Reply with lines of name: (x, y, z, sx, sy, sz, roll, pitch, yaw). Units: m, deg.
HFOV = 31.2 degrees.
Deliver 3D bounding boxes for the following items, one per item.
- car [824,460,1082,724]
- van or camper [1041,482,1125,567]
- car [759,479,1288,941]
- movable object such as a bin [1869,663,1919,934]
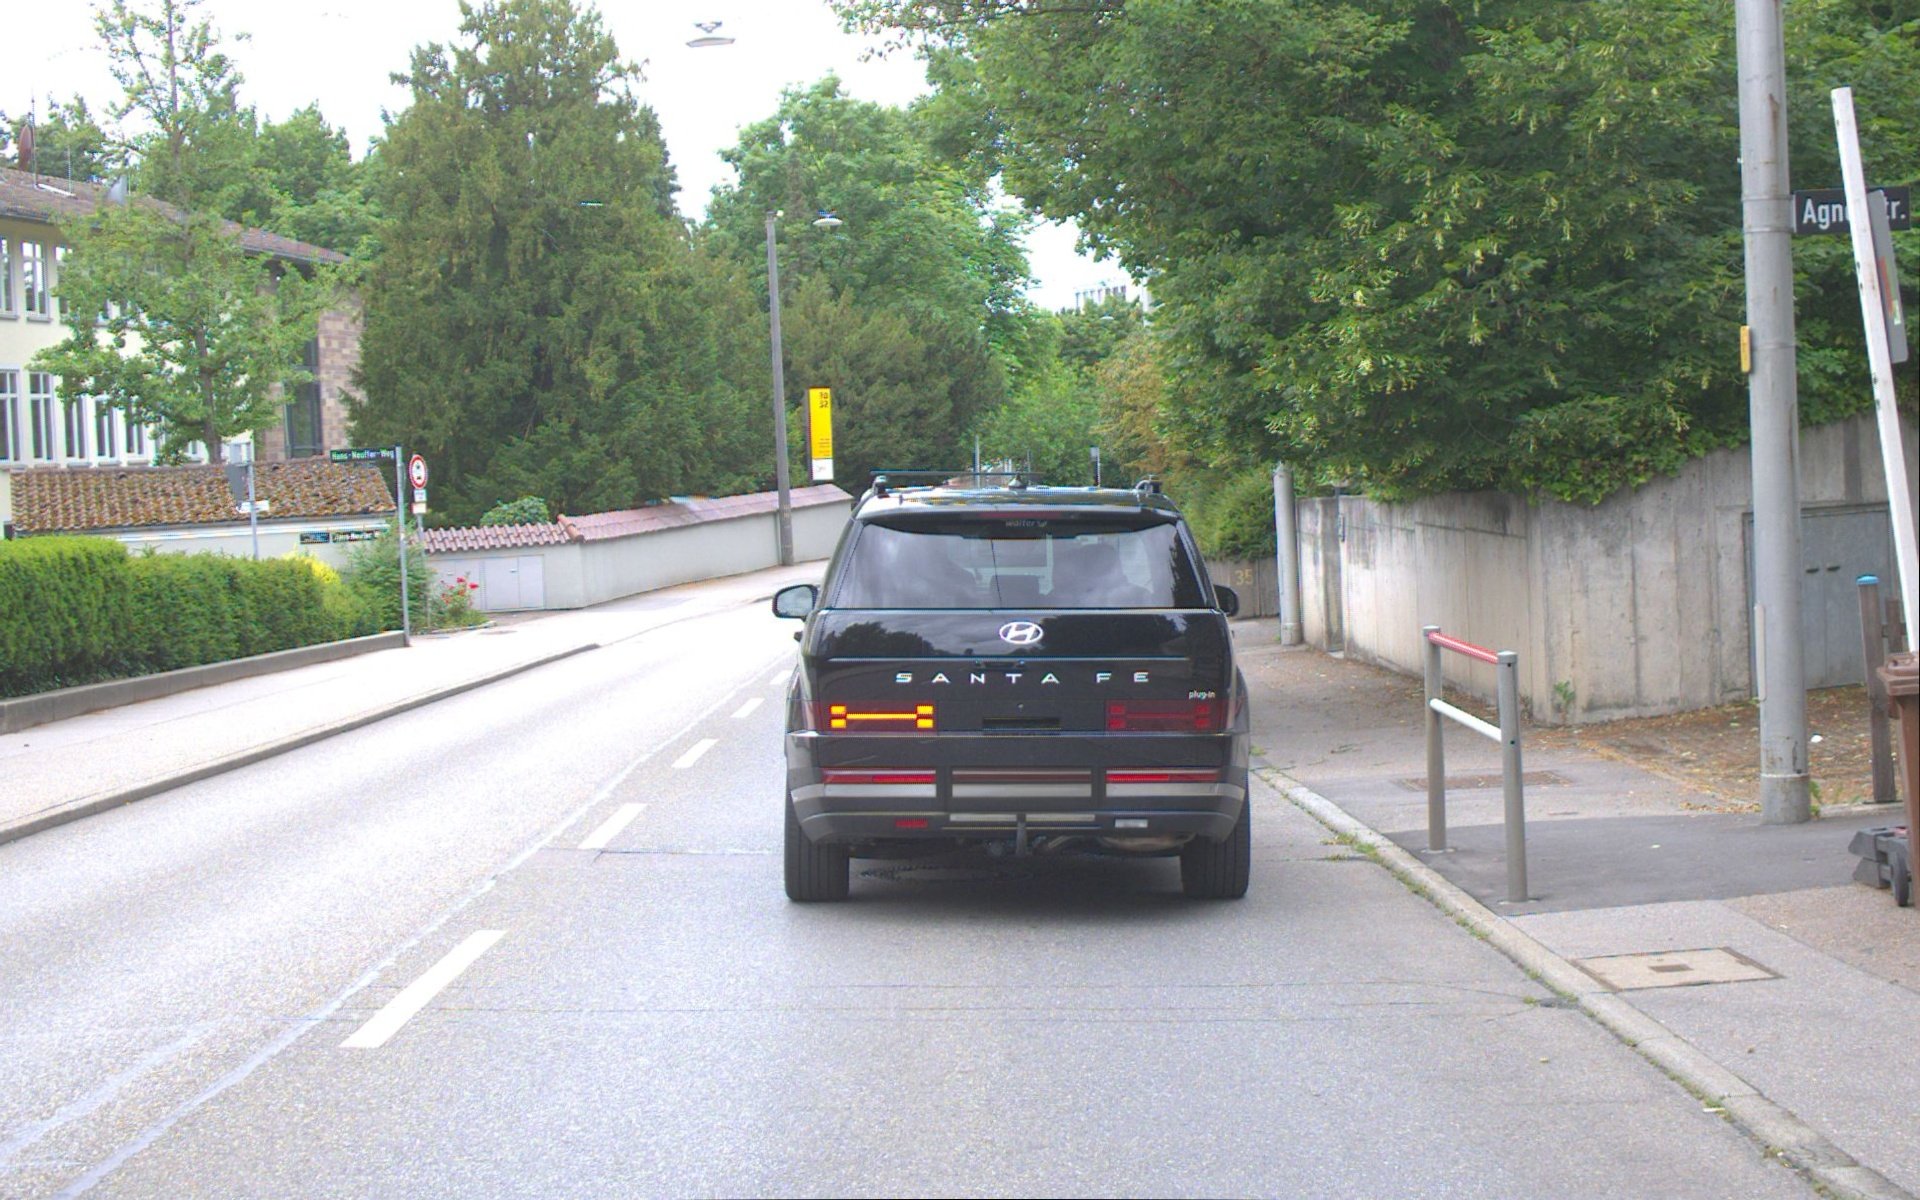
car: (-0.048, -0.145, 28.382, 1.957, 1.949, 4.224, 0, 3, 0)
van or camper: (3.195, -1.966, 88.430, 1.676, 2.000, 3.937, -2, 3, 8)
car: (0.239, 0.351, 14.919, 1.957, 1.707, 4.224, 0, 2, 0)
movable object such as a bin: (3.467, 0.678, 12.024, 0.445, 0.906, 0.394, -5, 1, 9)
